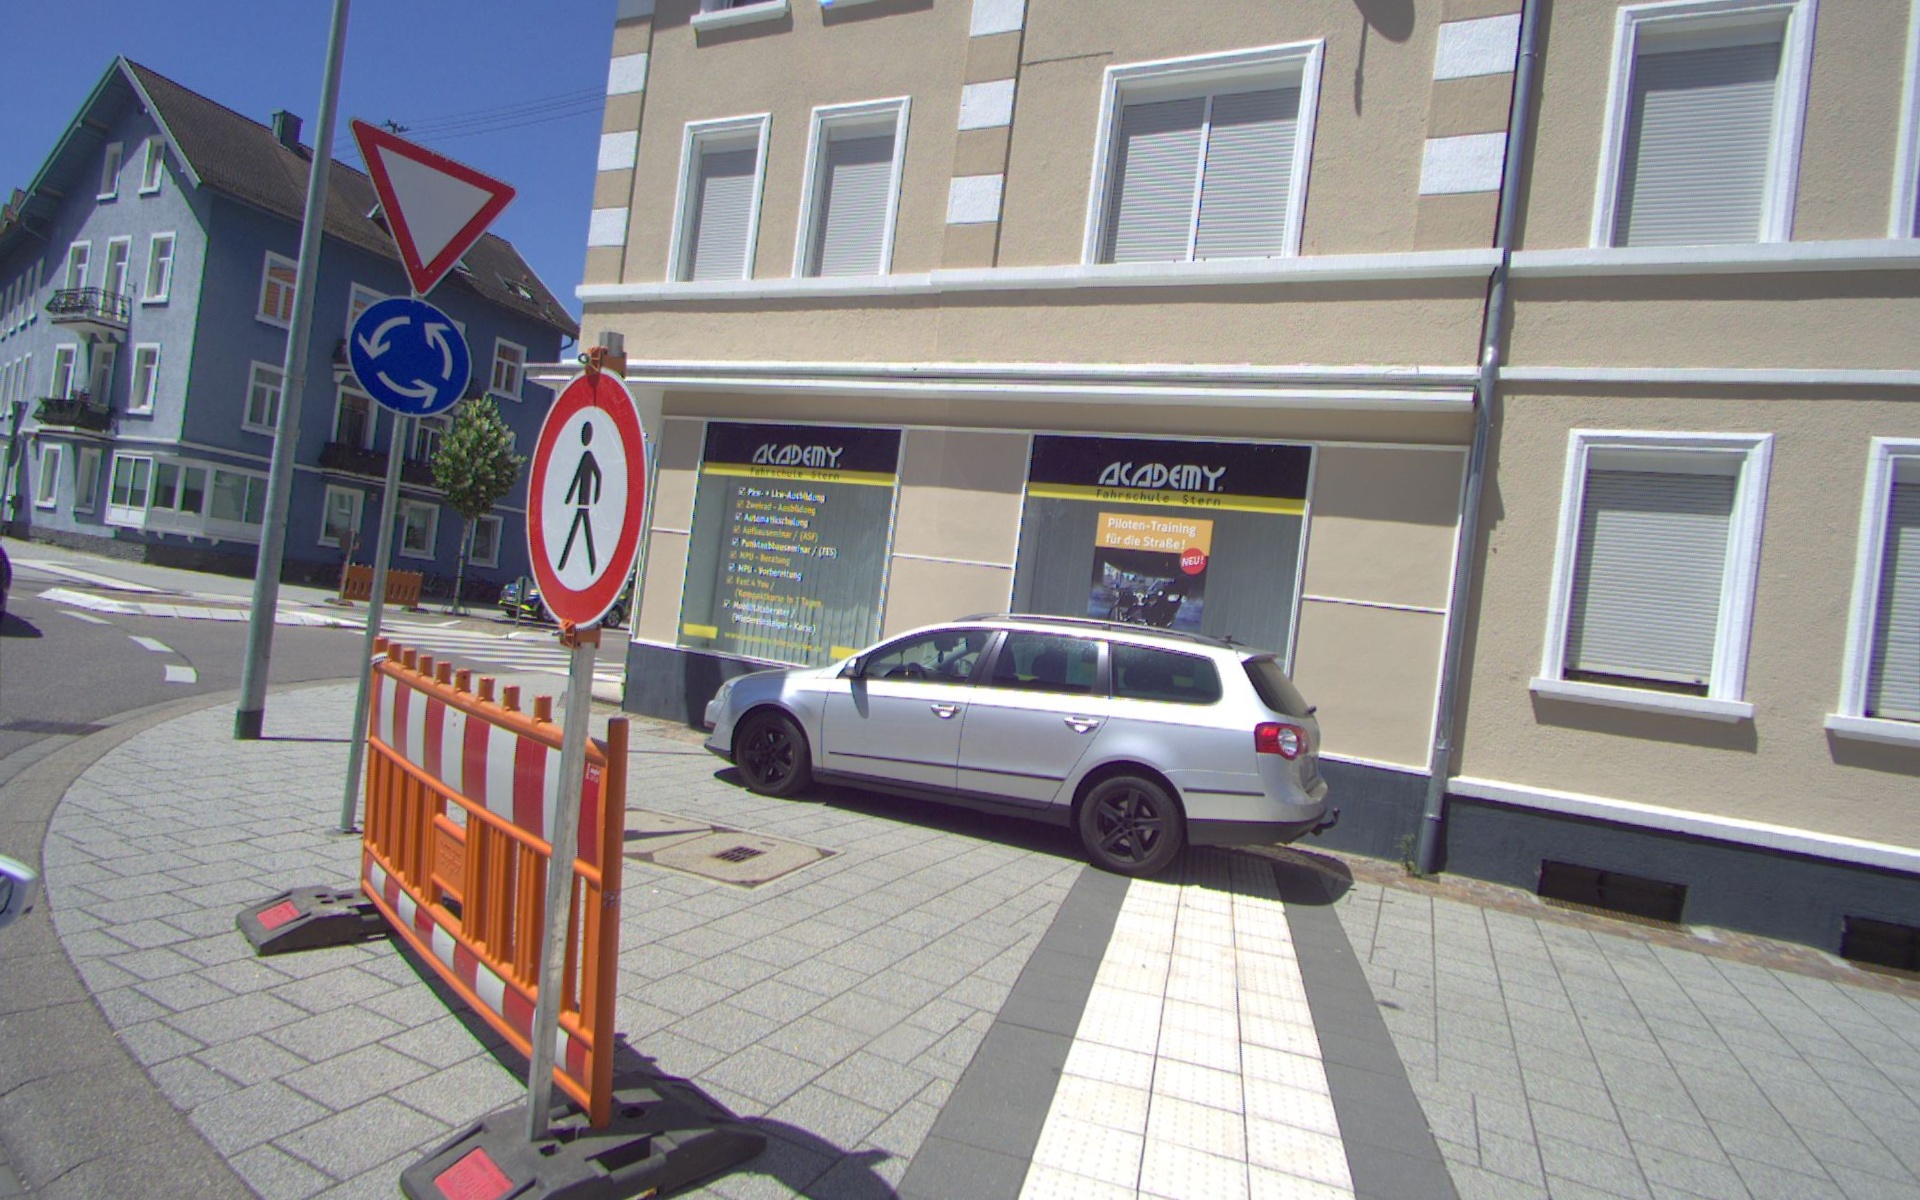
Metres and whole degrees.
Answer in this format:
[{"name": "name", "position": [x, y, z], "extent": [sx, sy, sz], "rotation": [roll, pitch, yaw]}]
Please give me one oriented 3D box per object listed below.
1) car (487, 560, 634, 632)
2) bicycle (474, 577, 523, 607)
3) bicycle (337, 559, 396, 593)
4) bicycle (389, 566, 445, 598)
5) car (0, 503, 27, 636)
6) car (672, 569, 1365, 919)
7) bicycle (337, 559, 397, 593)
[{"name": "car", "position": [-13.423, -0.082, 34.064], "extent": [1.873, 1.763, 4.249], "rotation": [8, -2, 28]}, {"name": "bicycle", "position": [-18.225, -0.303, 39.729], "extent": [0.473, 0.917, 1.712], "rotation": [9, -2, 28]}, {"name": "bicycle", "position": [-20.666, -0.830, 35.060], "extent": [0.432, 0.917, 1.712], "rotation": [9, -2, 28]}, {"name": "bicycle", "position": [-19.704, -0.642, 36.541], "extent": [0.473, 0.917, 1.712], "rotation": [9, -2, 28]}, {"name": "car", "position": [-12.475, -0.559, 11.863], "extent": [1.949, 1.444, 3.950], "rotation": [9, -3, -44]}, {"name": "car", "position": [0.380, 0.833, 7.351], "extent": [4.605, 1.548, 1.769], "rotation": [6, -1, 24]}, {"name": "bicycle", "position": [-20.376, -0.813, 34.610], "extent": [0.432, 0.917, 1.712], "rotation": [9, -2, 28]}]
